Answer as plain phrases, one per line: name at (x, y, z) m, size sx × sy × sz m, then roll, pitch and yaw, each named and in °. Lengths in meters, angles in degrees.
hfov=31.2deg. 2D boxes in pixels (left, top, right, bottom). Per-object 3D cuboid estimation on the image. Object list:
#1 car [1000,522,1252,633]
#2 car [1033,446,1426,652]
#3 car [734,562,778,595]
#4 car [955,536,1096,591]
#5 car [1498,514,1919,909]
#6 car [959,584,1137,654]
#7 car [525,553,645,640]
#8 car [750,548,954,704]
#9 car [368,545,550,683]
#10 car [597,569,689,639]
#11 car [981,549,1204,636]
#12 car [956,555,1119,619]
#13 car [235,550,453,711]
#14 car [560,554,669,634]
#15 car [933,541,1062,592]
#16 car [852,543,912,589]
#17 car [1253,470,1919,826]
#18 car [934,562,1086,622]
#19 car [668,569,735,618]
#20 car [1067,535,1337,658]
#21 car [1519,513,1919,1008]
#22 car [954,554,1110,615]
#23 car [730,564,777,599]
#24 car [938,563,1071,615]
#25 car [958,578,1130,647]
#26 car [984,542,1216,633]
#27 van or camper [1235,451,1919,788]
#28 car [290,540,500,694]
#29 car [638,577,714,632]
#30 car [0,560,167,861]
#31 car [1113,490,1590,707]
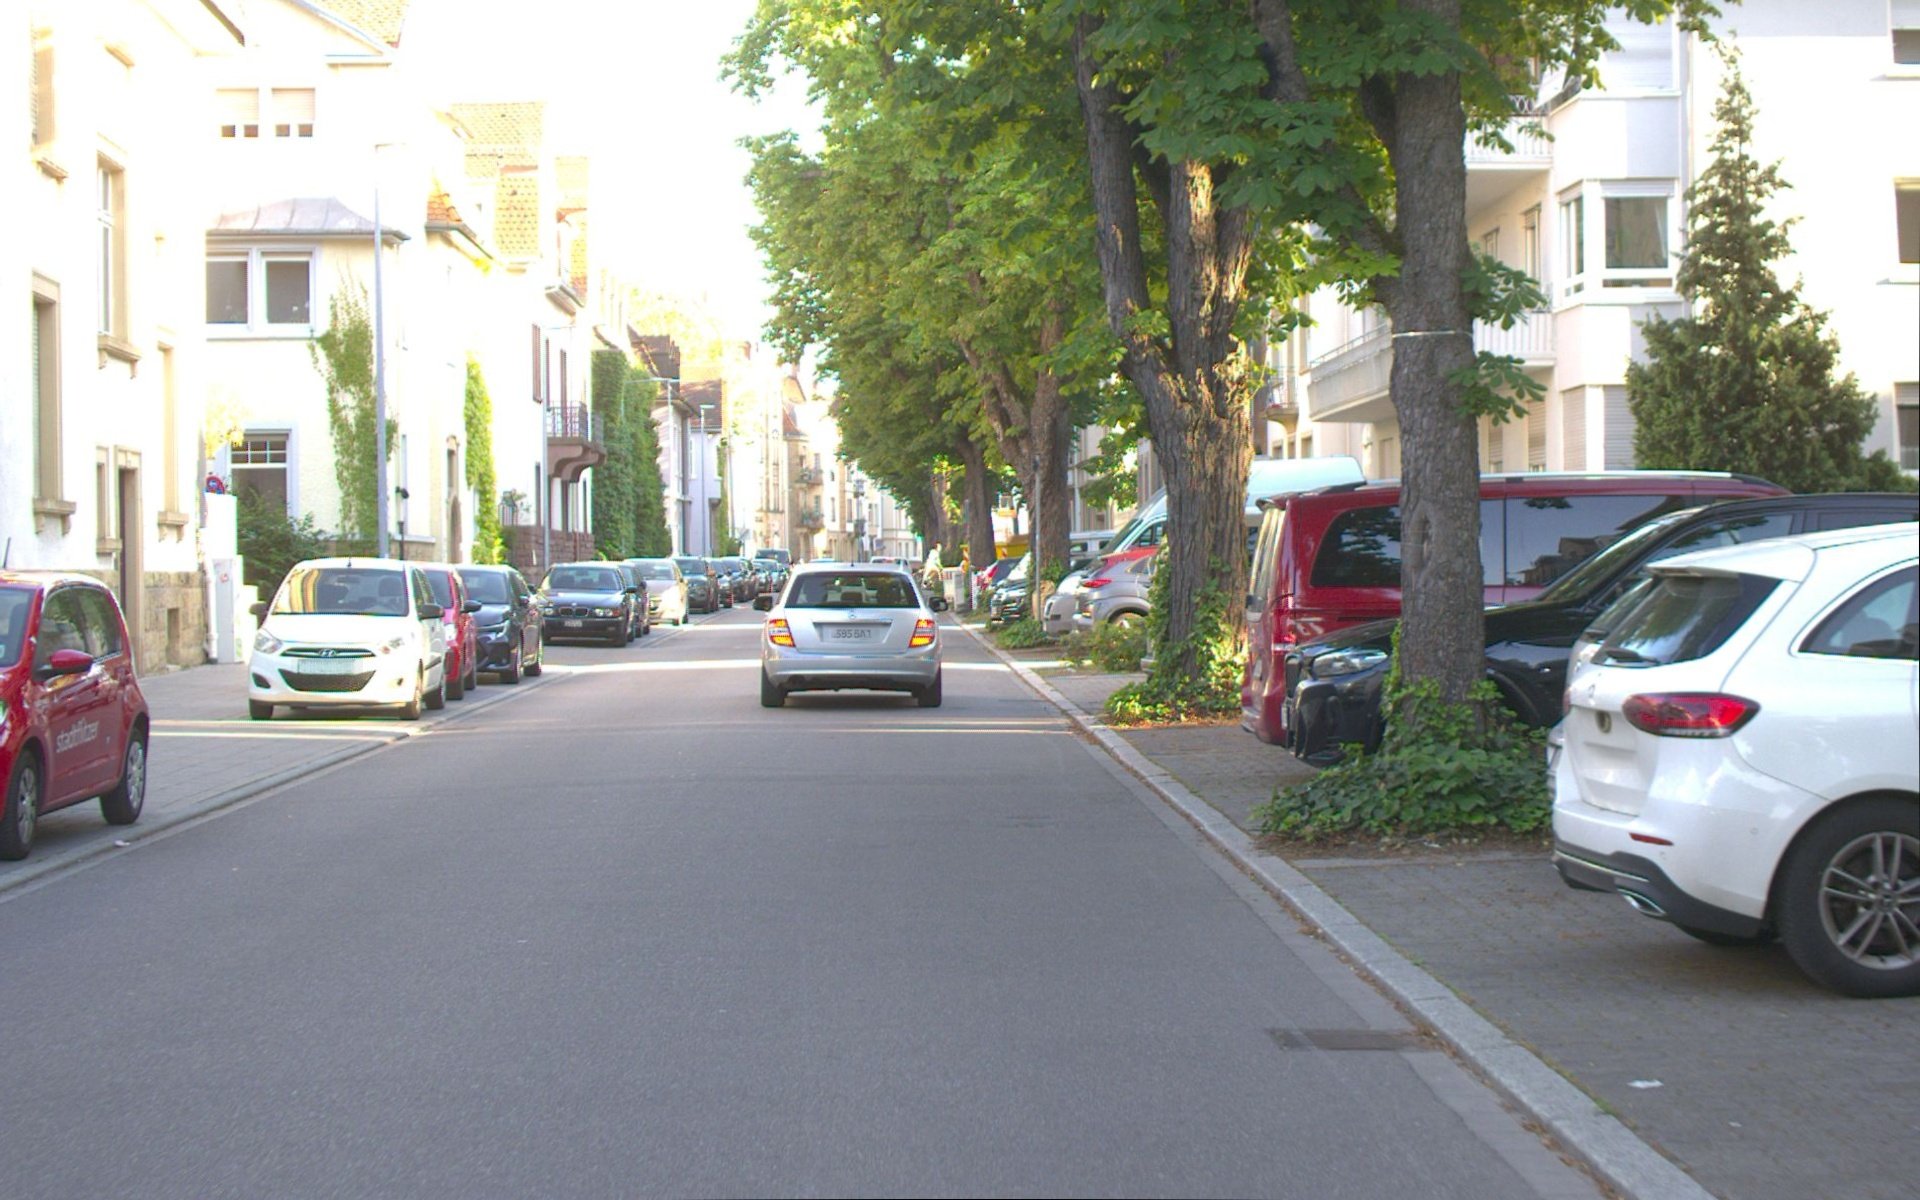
car at (3.073, -0.437, 64.447) m, size 4.518 × 2.007 × 2.251 m, roll -1°, pitch 1°, yaw -3°
car at (3.964, -0.767, 51.292) m, size 5.541 × 2.958 × 2.472 m, roll -1°, pitch 1°, yaw -3°
car at (-8.980, -0.963, 151.310) m, size 1.799 × 1.382 × 3.606 m, roll 0°, pitch 1°, yaw -1°
car at (1.802, -1.020, 95.302) m, size 3.844 × 1.477 × 1.805 m, roll -1°, pitch 1°, yaw 0°
car at (4.376, 0.436, 14.605) m, size 3.812 × 1.563 × 1.744 m, roll 0°, pitch 1°, yaw -5°
car at (1.899, 0.409, 75.458) m, size 3.844 × 1.477 × 1.805 m, roll -1°, pitch 1°, yaw 0°
car at (-6.659, -0.083, 61.286) m, size 1.799 × 1.477 × 3.857 m, roll 0°, pitch 1°, yaw -1°
car at (-1.022, 0.249, 34.643) m, size 1.817 × 1.468 × 4.216 m, roll 0°, pitch 0°, yaw 1°
car at (-6.213, 0.139, 42.998) m, size 1.799 × 1.639 × 3.857 m, roll 0°, pitch 1°, yaw -1°
car at (-7.093, 0.070, 77.161) m, size 1.799 × 1.477 × 3.857 m, roll 0°, pitch 1°, yaw -1°
car at (2.314, -0.143, 60.703) m, size 3.844 × 1.477 × 1.805 m, roll -1°, pitch 1°, yaw 0°
car at (1.837, -0.327, 82.598) m, size 3.844 × 1.477 × 1.805 m, roll -1°, pitch 1°, yaw 0°
car at (-5.991, 0.276, 33.764) m, size 1.659 × 1.494 × 3.754 m, roll 0°, pitch 0°, yaw -3°
car at (-6.666, -0.141, 66.674) m, size 1.799 × 1.477 × 3.857 m, roll 0°, pitch 1°, yaw -1°
car at (1.117, -1.022, 103.162) m, size 3.844 × 1.477 × 1.805 m, roll -1°, pitch 1°, yaw 0°
car at (-2.579, -1.112, 114.355) m, size 1.817 × 1.468 × 4.216 m, roll 0°, pitch 0°, yaw 1°
car at (4.025, 0.242, 18.824) m, size 4.625 × 1.830 × 1.954 m, roll 0°, pitch 1°, yaw -1°
car at (1.263, -0.205, 88.304) m, size 3.844 × 1.477 × 1.805 m, roll -1°, pitch 1°, yaw 0°
car at (-7.585, -0.193, 101.100) m, size 1.799 × 1.382 × 3.606 m, roll 0°, pitch 1°, yaw -1°
car at (3.368, -0.064, 48.281) m, size 3.594 × 1.654 × 1.650 m, roll -1°, pitch 1°, yaw -3°
car at (3.953, 0.477, 11.787) m, size 3.730 × 1.553 × 1.725 m, roll -1°, pitch 0°, yaw -2°
car at (1.790, -0.392, 86.041) m, size 3.844 × 1.477 × 1.805 m, roll -1°, pitch 1°, yaw 0°
car at (-8.533, -0.770, 142.493) m, size 1.799 × 1.382 × 3.606 m, roll 0°, pitch 1°, yaw -1°
car at (1.286, -0.329, 100.380) m, size 3.844 × 1.477 × 1.805 m, roll -1°, pitch 1°, yaw 0°
car at (1.890, 0.277, 78.212) m, size 3.844 × 1.477 × 1.805 m, roll -1°, pitch 1°, yaw 0°
car at (2.338, -0.218, 58.145) m, size 3.844 × 1.477 × 1.805 m, roll -1°, pitch 1°, yaw 0°
van or camper at (3.955, 0.101, 21.709) m, size 4.313 × 2.007 × 2.000 m, roll 0°, pitch 1°, yaw 2°
car at (-6.285, 0.196, 38.634) m, size 1.799 × 1.639 × 3.857 m, roll 0°, pitch -1°, yaw -1°
car at (-7.522, 0.104, 91.342) m, size 1.799 × 1.382 × 3.606 m, roll 0°, pitch 1°, yaw -1°
car at (-5.590, 0.534, 18.854) m, size 1.659 × 1.483 × 3.754 m, roll 0°, pitch 0°, yaw -1°
car at (3.576, -0.030, 31.915) m, size 4.129 × 1.915 × 1.891 m, roll -1°, pitch 1°, yaw -3°
